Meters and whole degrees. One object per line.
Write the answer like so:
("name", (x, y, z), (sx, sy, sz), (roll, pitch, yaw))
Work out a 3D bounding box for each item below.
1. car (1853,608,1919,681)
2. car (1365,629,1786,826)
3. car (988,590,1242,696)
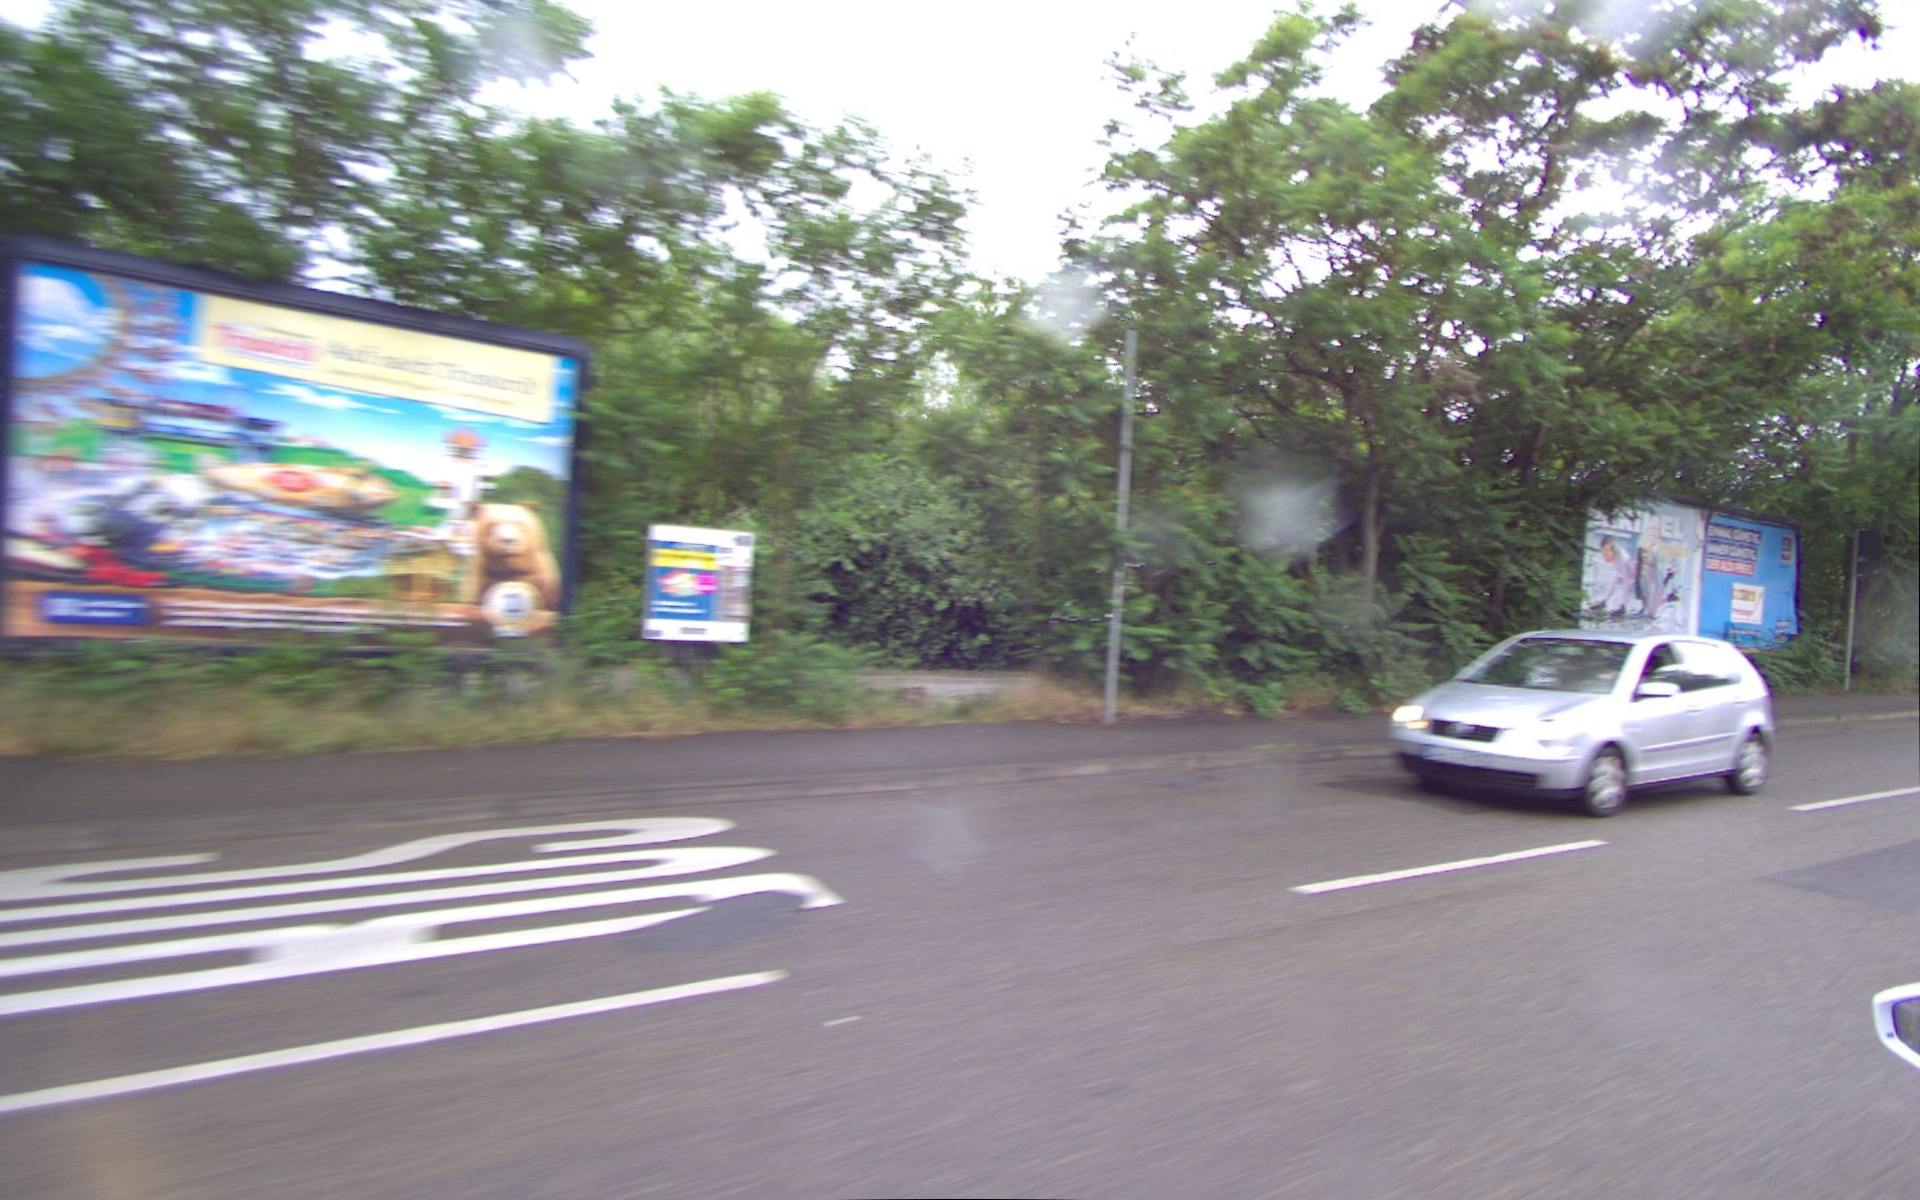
("car", (37.069, 1.734, 37.548), (2.128, 2.663, 5.022), (2, 0, -30))
("car", (5.666, 1.021, 9.149), (3.890, 1.435, 1.646), (2, -1, -30))
("car", (2.613, 0.718, 16.739), (3.954, 1.514, 1.694), (3, 2, -30))
